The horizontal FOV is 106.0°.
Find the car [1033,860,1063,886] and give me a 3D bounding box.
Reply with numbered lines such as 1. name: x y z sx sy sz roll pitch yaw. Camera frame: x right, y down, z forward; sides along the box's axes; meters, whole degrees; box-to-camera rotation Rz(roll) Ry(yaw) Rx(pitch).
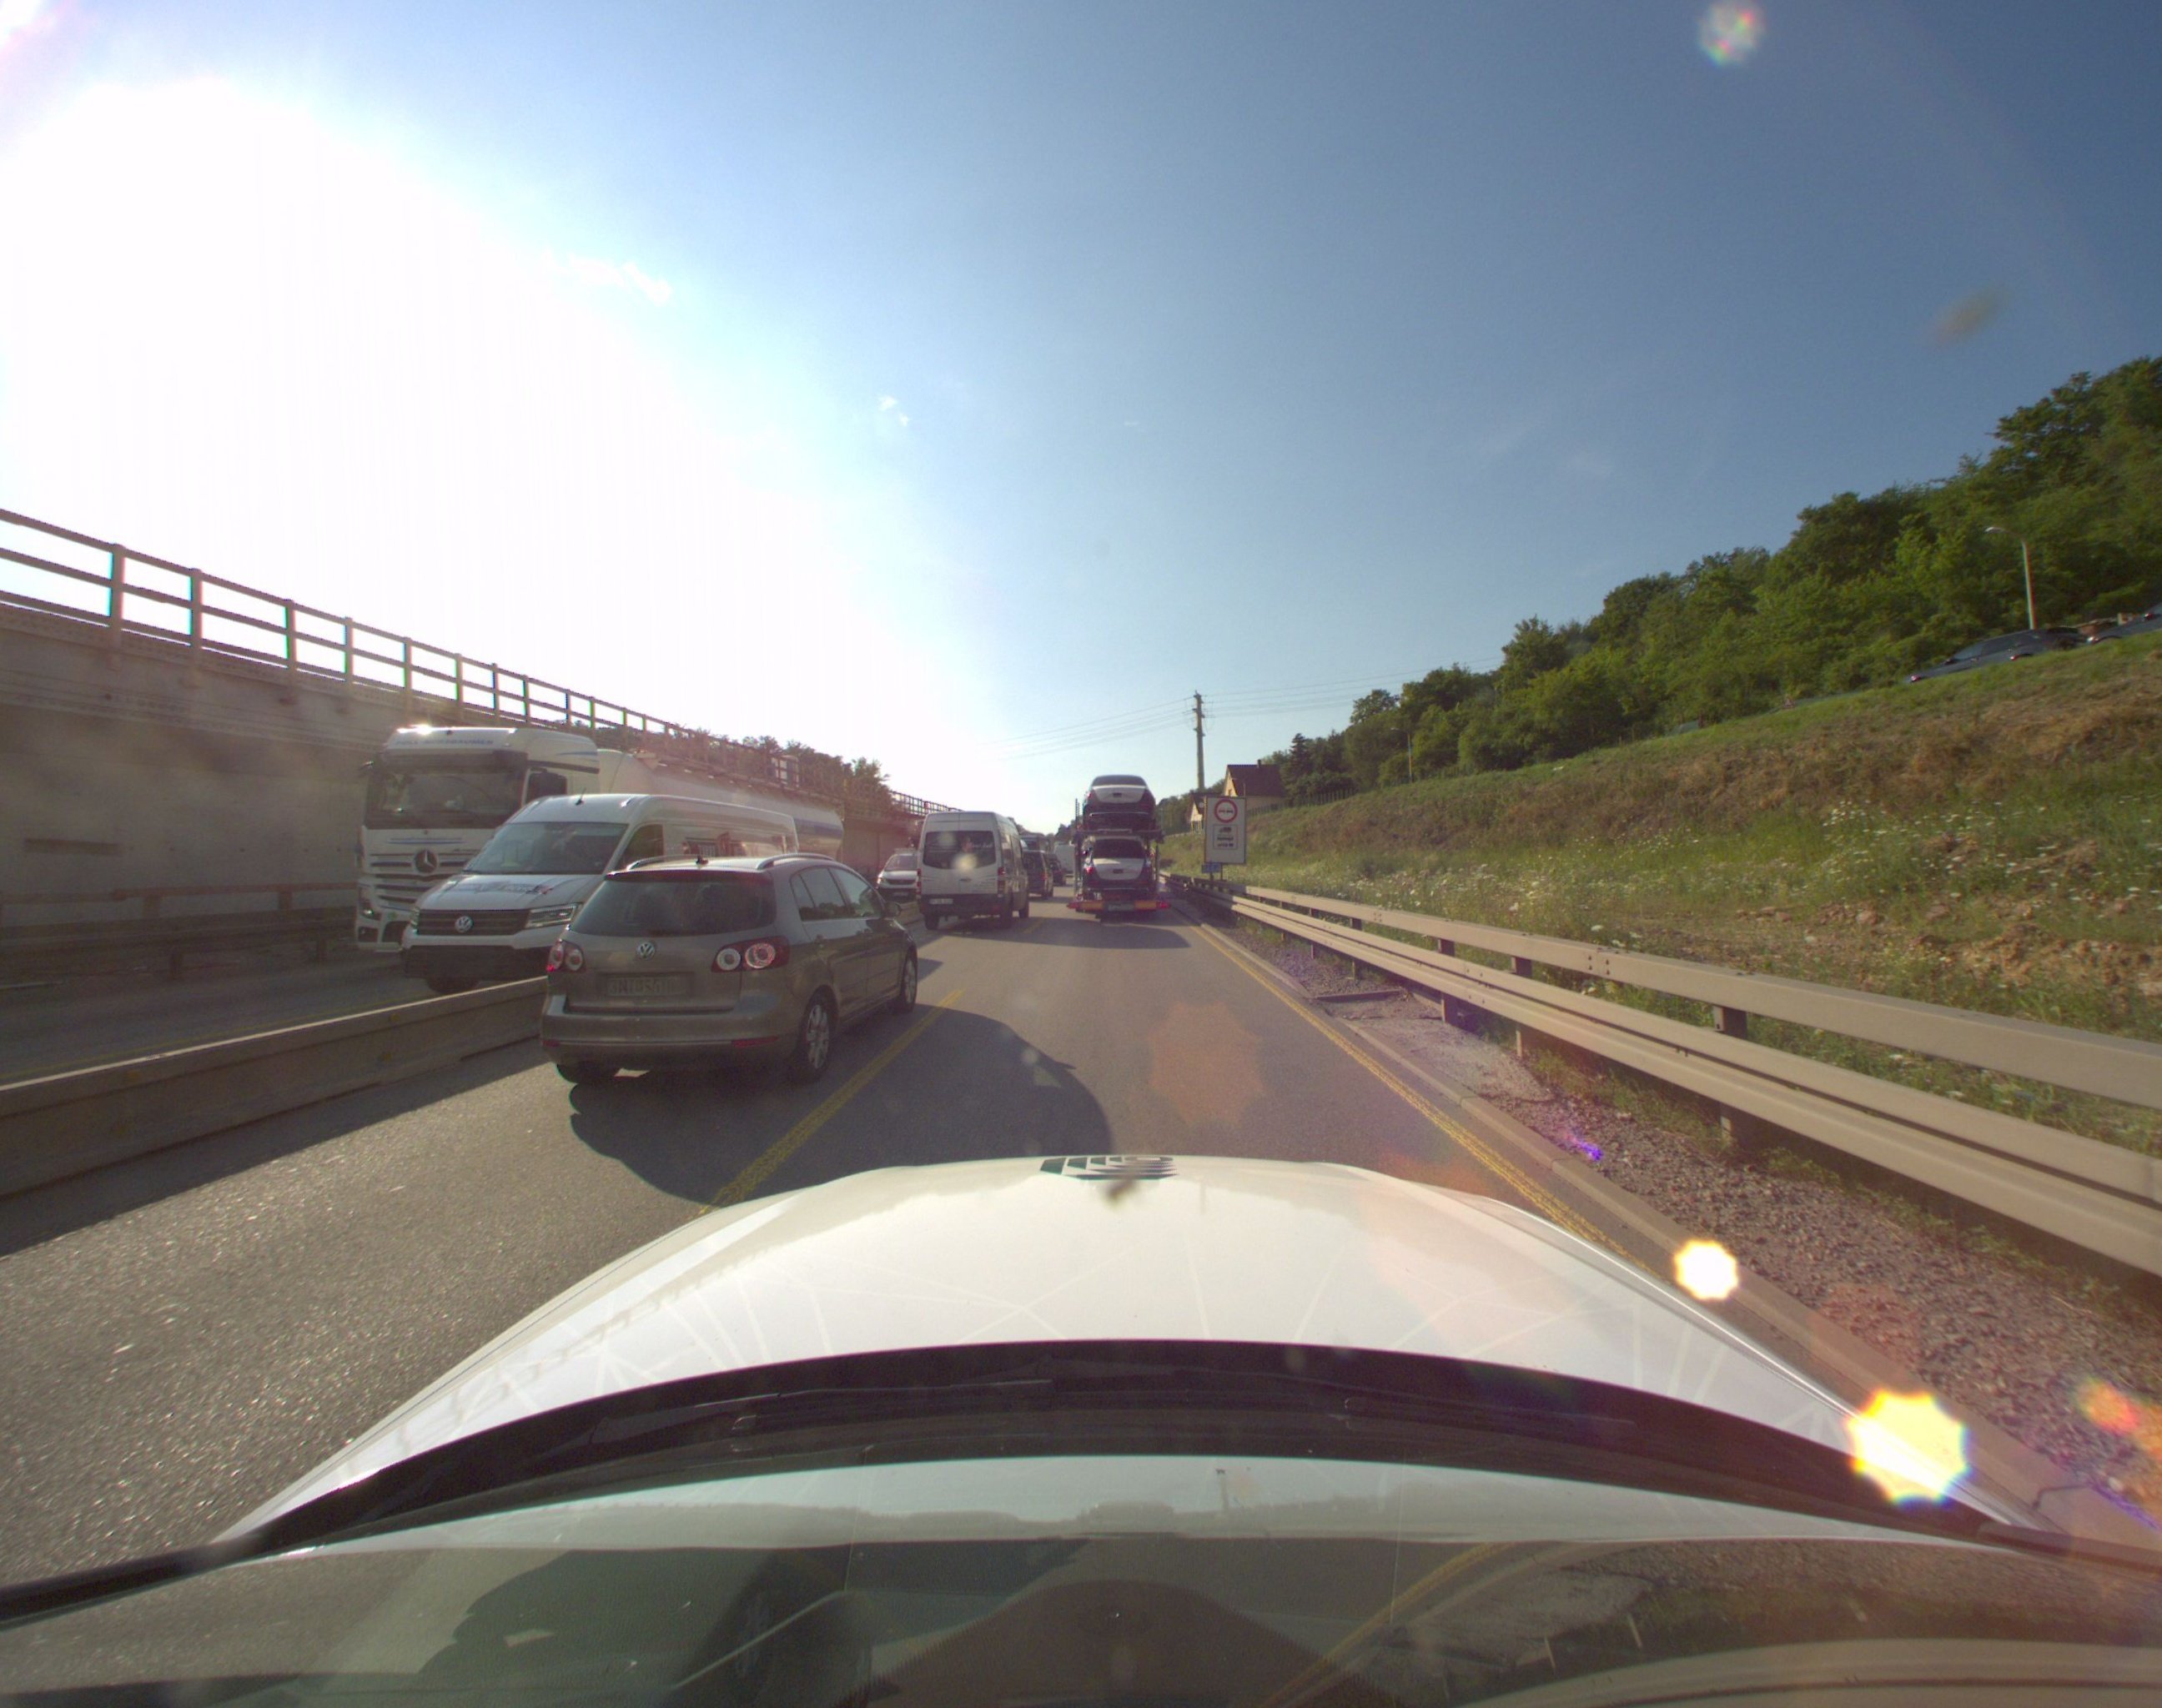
1. car: -2.012 1.138 50.543 1.720 1.522 3.973 0 0 0

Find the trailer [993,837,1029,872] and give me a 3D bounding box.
1. trailer: -7.291 0.096 86.303 2.547 3.526 10.686 0 -1 2

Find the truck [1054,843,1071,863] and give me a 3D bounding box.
1. truck: -3.406 -0.181 153.184 2.705 3.424 8.141 -3 -1 1

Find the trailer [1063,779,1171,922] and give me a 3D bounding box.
1. trailer: 1.159 -0.034 27.892 2.672 3.535 15.294 0 0 2

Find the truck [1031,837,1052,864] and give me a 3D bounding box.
1. truck: -6.028 -0.505 124.142 2.850 4.008 5.659 0 -1 1

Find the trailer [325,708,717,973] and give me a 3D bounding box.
1. trailer: -9.592 -0.162 15.073 2.643 3.850 6.431 0 -1 1

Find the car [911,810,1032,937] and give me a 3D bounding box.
1. car: -2.495 0.404 20.073 1.986 2.648 5.532 -1 0 2

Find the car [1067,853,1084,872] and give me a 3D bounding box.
1. car: -0.601 0.893 92.063 1.879 2.100 3.766 0 0 1

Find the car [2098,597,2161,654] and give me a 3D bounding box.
1. car: 31.928 -6.788 22.963 1.343 1.232 3.887 0 -1 -10

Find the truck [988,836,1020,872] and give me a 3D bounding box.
1. truck: -7.522 0.029 80.135 2.539 3.409 5.533 0 -1 1

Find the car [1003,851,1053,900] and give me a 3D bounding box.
1. car: -2.134 0.874 33.807 1.802 1.904 4.000 0 -1 0

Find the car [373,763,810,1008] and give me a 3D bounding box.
1. car: -6.475 0.373 12.430 1.986 2.623 7.412 0 -1 2

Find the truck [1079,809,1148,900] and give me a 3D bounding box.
1. truck: 1.401 0.046 35.331 2.672 3.535 7.196 0 -1 2

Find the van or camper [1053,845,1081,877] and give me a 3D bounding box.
1. van or camper: -1.116 0.572 68.274 1.960 2.591 5.046 0 -1 4

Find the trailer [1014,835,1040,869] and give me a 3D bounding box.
1. trailer: -6.718 -0.317 102.458 2.754 4.141 5.978 0 1 1

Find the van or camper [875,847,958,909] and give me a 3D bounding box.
1. van or camper: -5.814 0.819 29.396 1.852 2.014 5.295 0 -1 1

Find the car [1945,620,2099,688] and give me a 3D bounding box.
1. car: 31.764 -6.702 27.625 1.356 1.458 3.225 0 -1 -6

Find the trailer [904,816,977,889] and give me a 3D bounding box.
1. trailer: -8.249 -0.044 48.629 2.760 4.031 7.212 0 -1 3

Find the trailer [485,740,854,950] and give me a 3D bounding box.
1. trailer: -9.406 -0.092 21.641 2.642 3.850 13.446 0 -1 2

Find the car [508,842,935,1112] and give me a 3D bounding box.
1. car: -2.547 0.773 7.021 1.674 1.588 4.273 -1 -1 1

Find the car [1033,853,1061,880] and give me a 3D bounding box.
1. car: -3.267 1.188 79.469 2.463 2.534 4.001 -1 0 1
